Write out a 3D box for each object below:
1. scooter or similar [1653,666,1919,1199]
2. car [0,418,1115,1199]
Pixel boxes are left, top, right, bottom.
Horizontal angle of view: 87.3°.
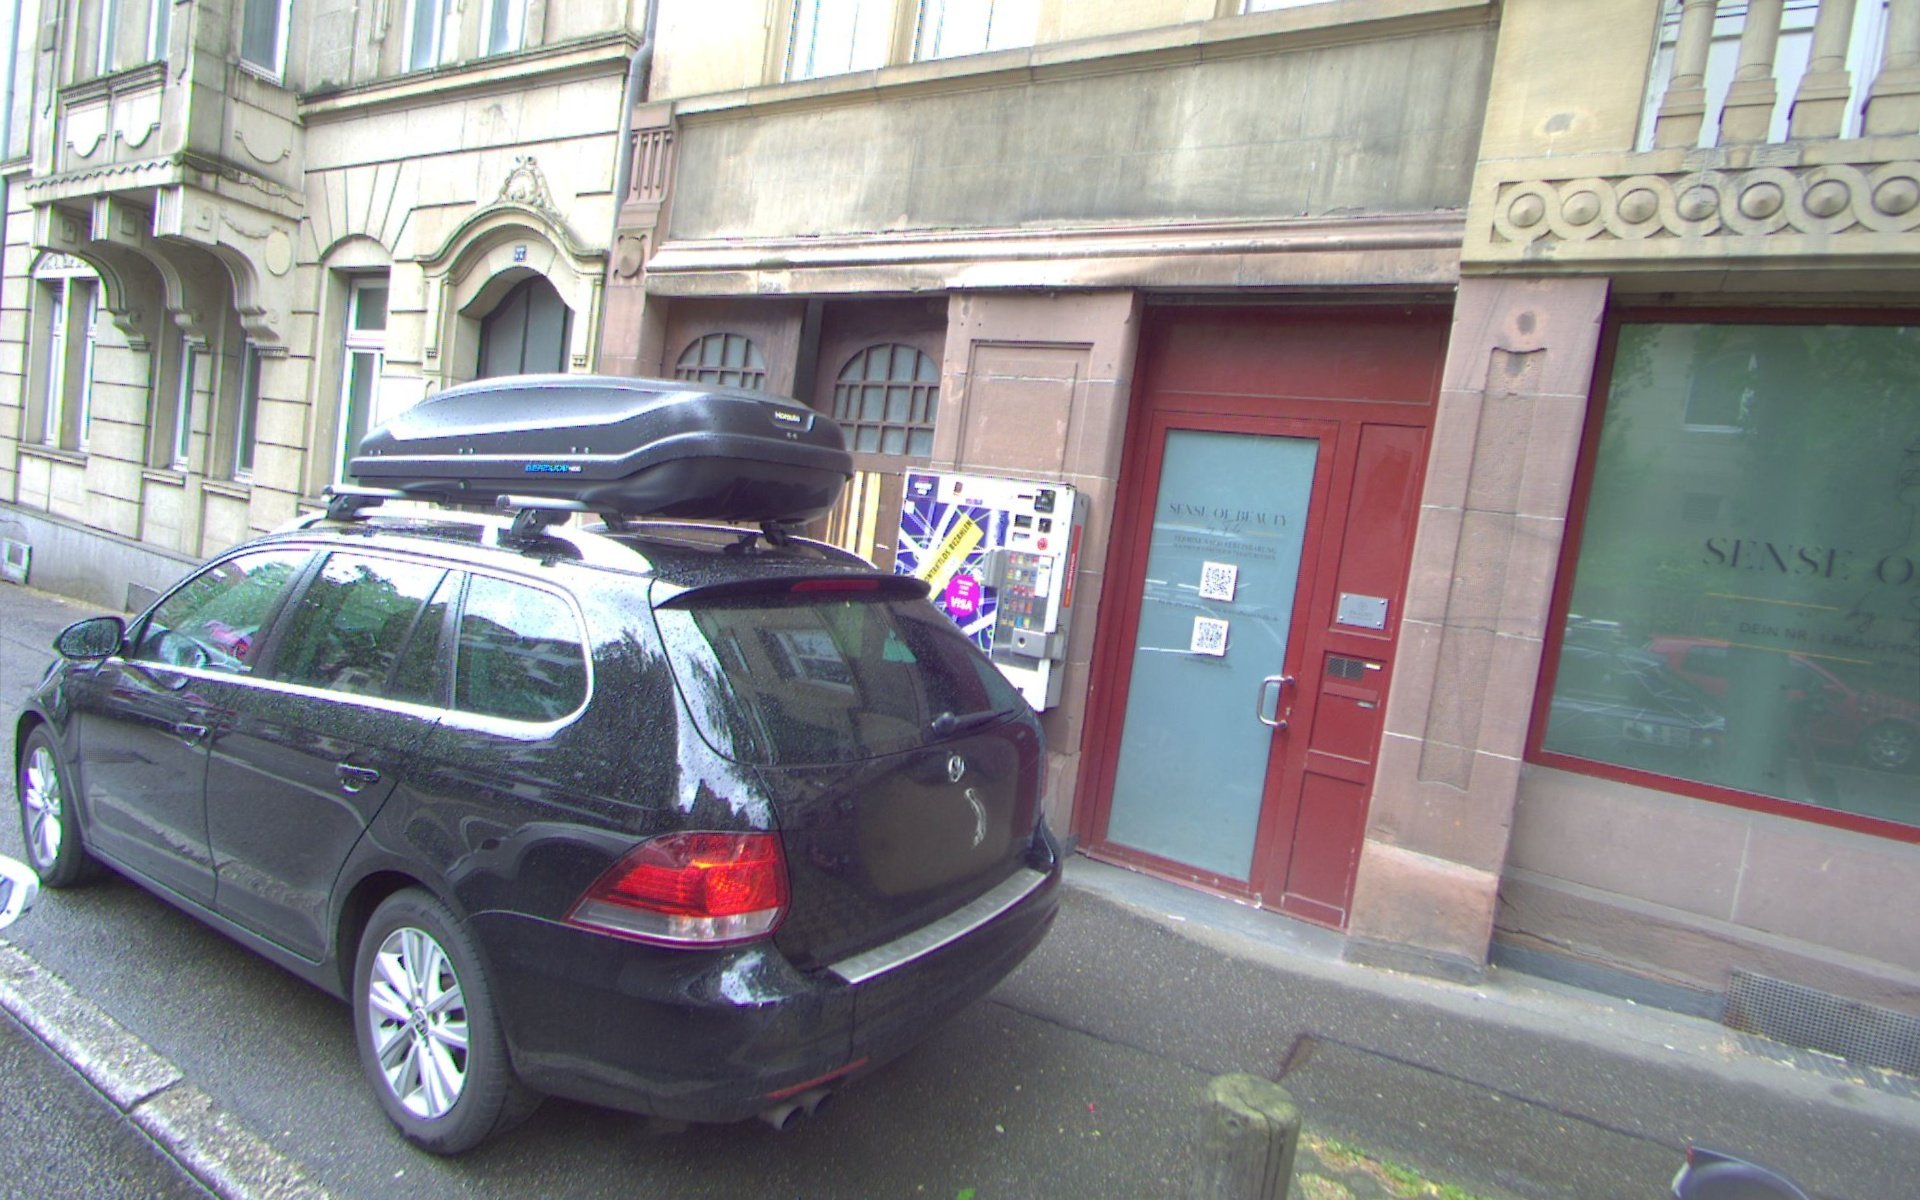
[{"bbox_3d":[2.166,0.879,1.943,1.183,1.336,0.593,7,3,32],"label":"scooter or similar"},{"bbox_3d":[-1.744,0.345,3.466,4.031,1.675,1.757,7,6,32],"label":"car"}]
